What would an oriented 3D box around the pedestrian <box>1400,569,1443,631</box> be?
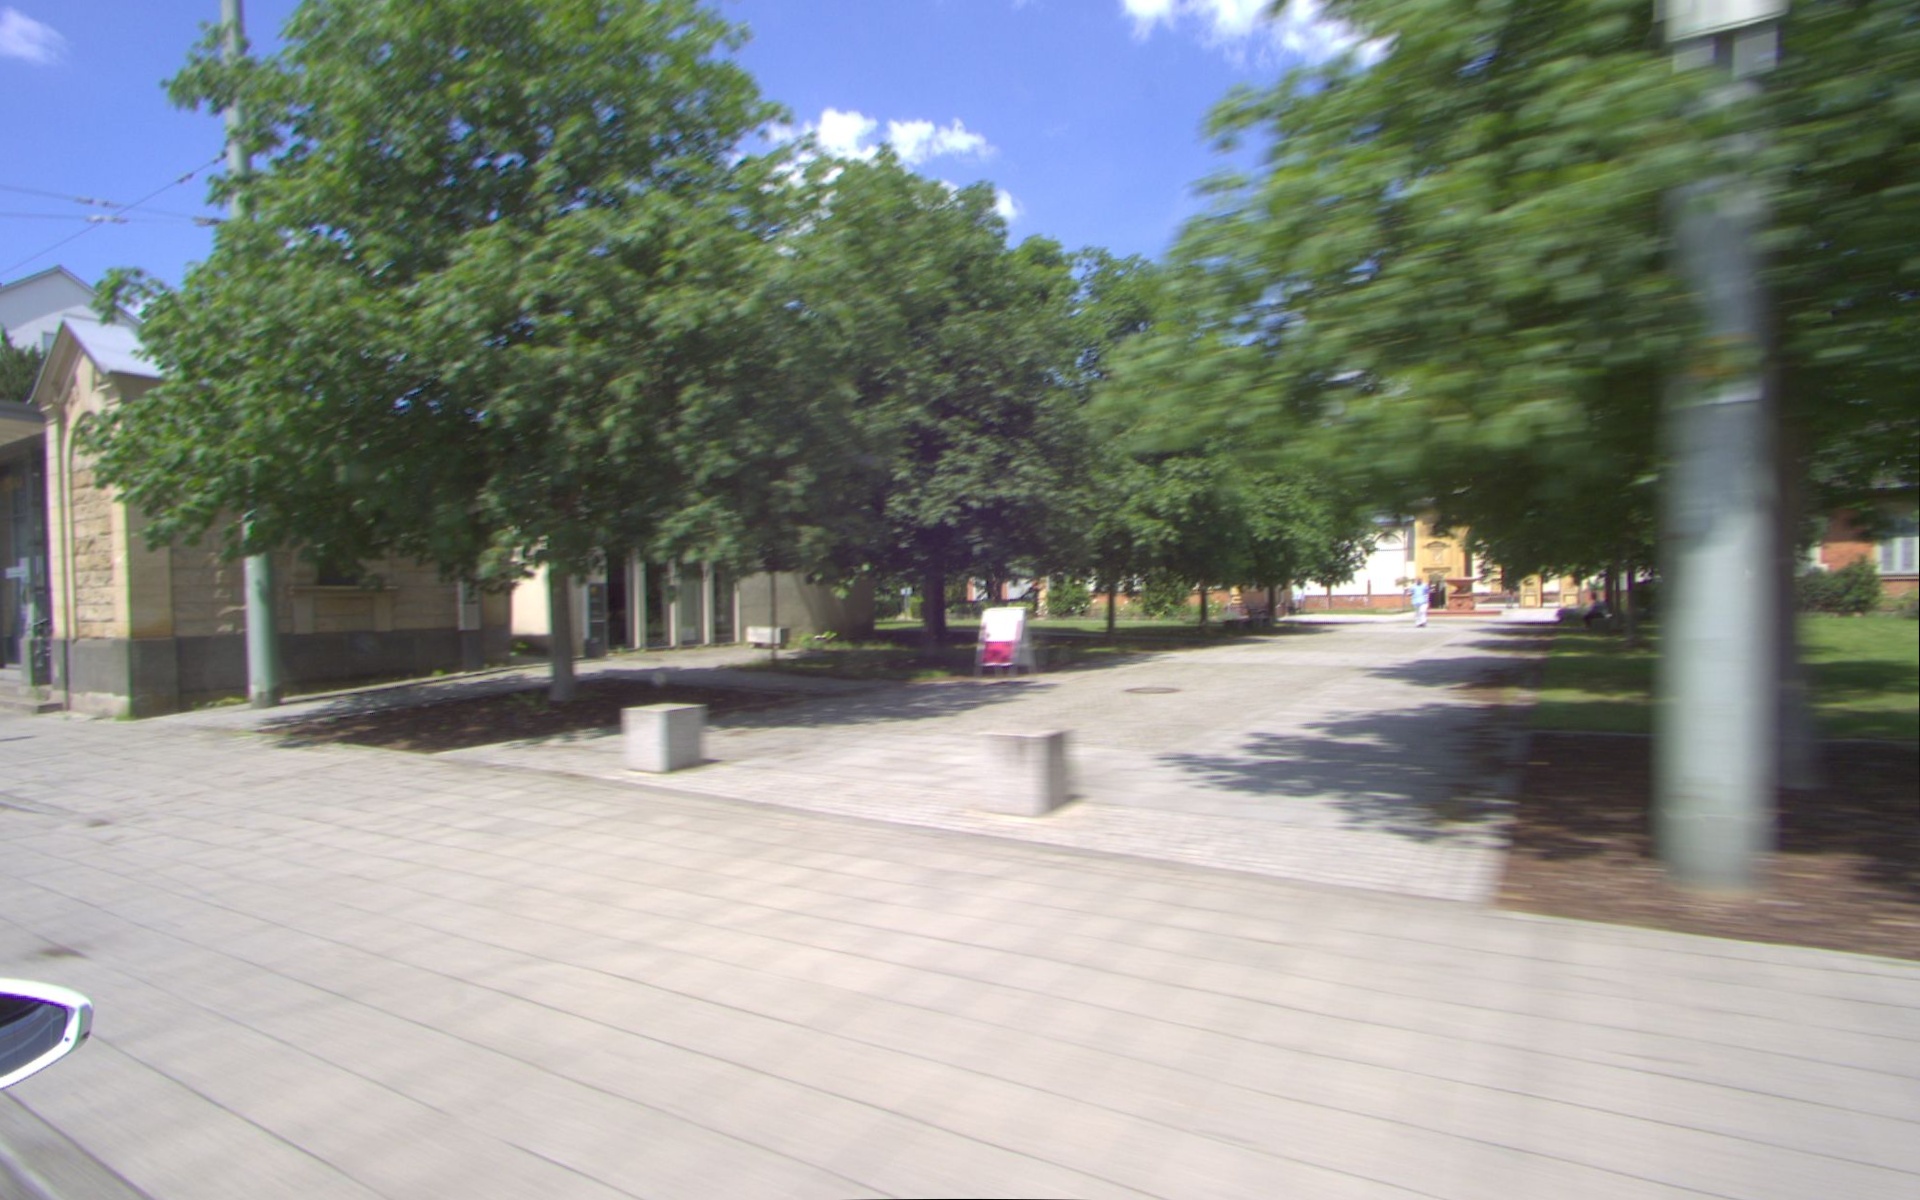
[{"bbox_3d":[15.692,-0.017,34.081,1.237,2.041,0.822,-2,2,21],"label":"pedestrian"}]
